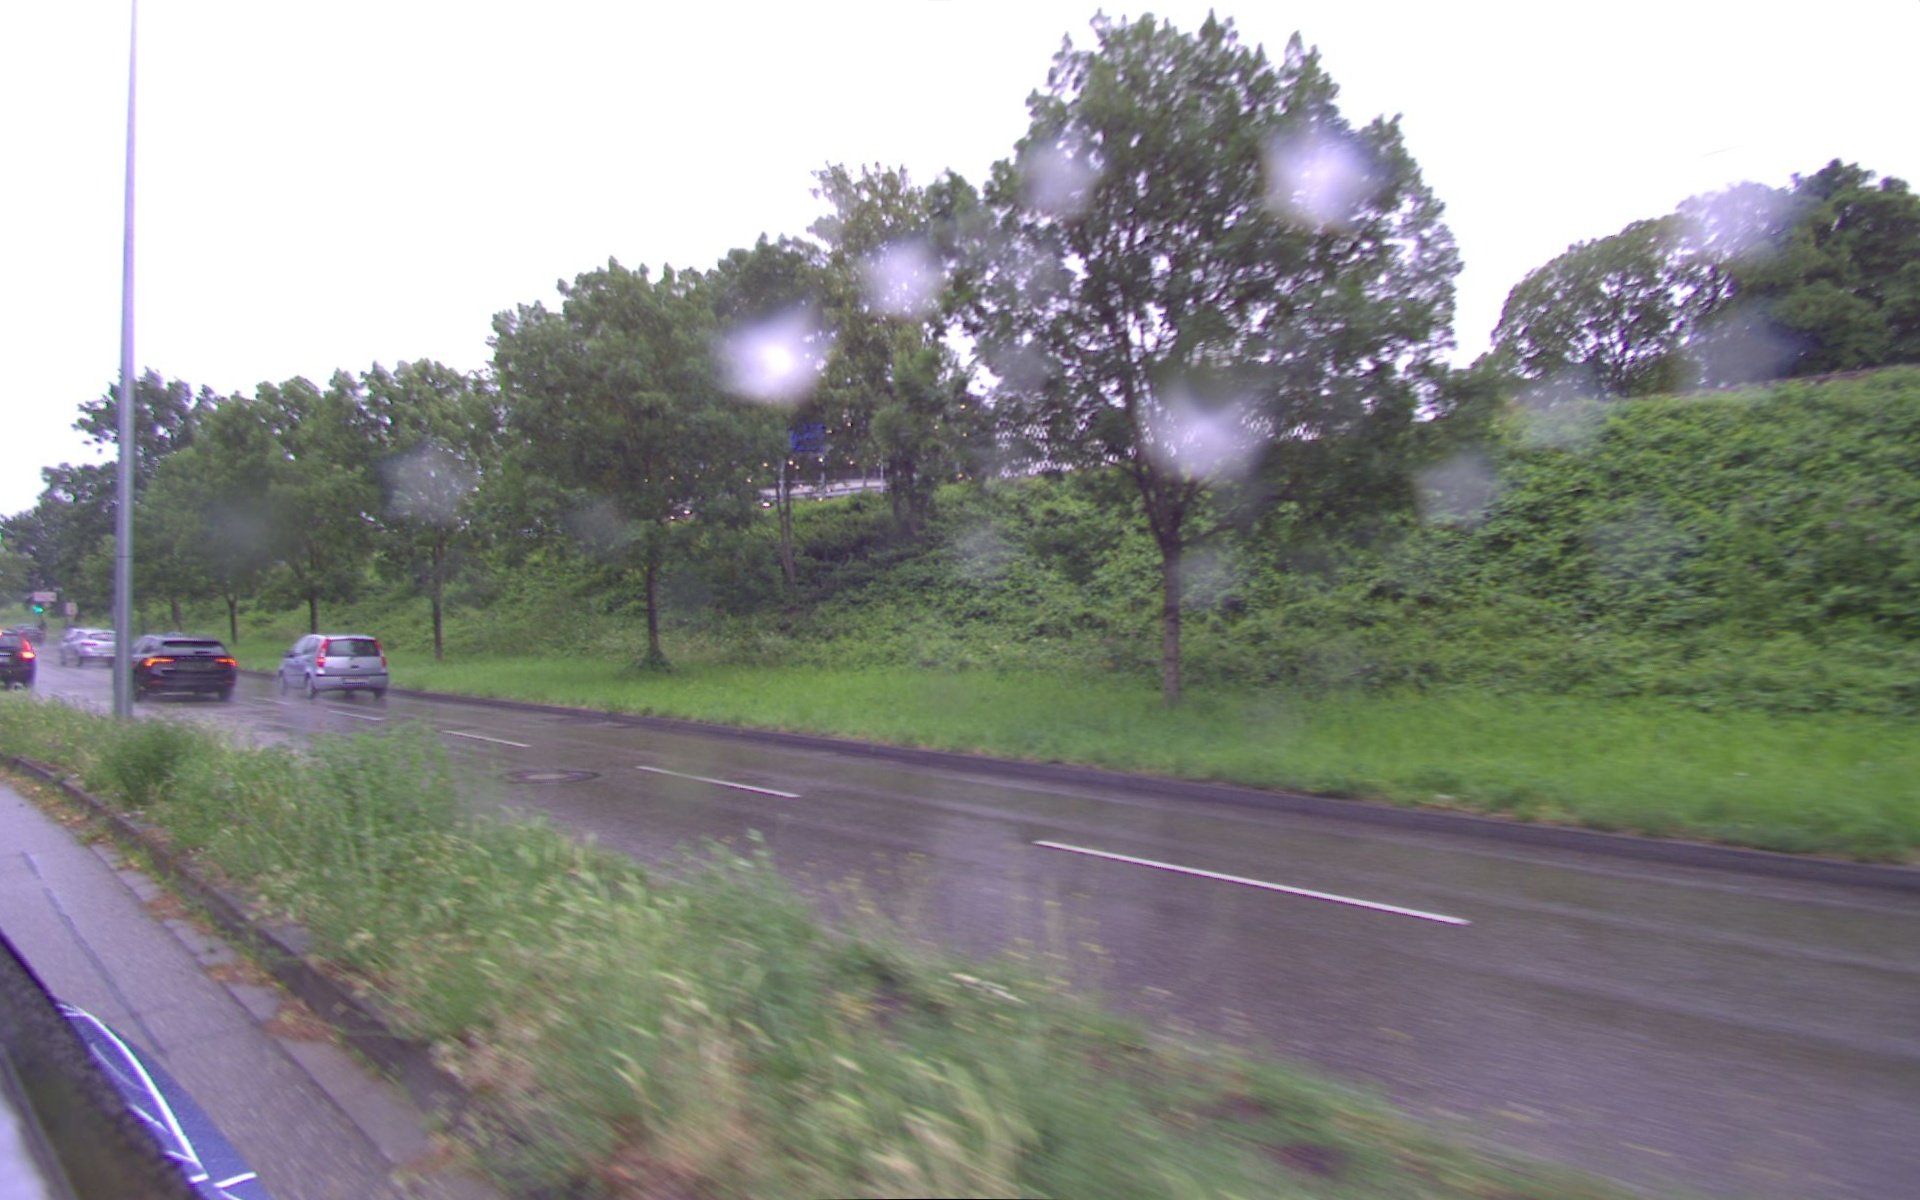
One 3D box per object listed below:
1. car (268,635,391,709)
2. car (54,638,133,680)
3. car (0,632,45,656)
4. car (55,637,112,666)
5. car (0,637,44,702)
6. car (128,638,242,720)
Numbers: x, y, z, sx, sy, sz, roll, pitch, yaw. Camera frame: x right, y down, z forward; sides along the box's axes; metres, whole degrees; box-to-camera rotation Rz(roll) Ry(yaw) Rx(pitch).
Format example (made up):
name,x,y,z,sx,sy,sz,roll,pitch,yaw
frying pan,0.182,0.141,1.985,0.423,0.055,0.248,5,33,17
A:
name,x,y,z,sx,sy,sz,roll,pitch,yaw
car,-15.591,1.700,24.951,3.848,1.630,1.677,-2,-2,44
car,-35.546,2.413,41.482,4.709,1.586,1.887,-2,-5,43
car,-67.238,3.152,72.558,4.709,1.700,1.971,-2,-4,43
car,-47.082,2.760,54.340,4.440,1.514,1.815,-2,-4,43
car,-25.588,1.752,26.335,4.354,1.587,1.806,-1,-4,38
car,-17.824,1.715,23.198,1.700,1.630,4.351,0,-2,-42
